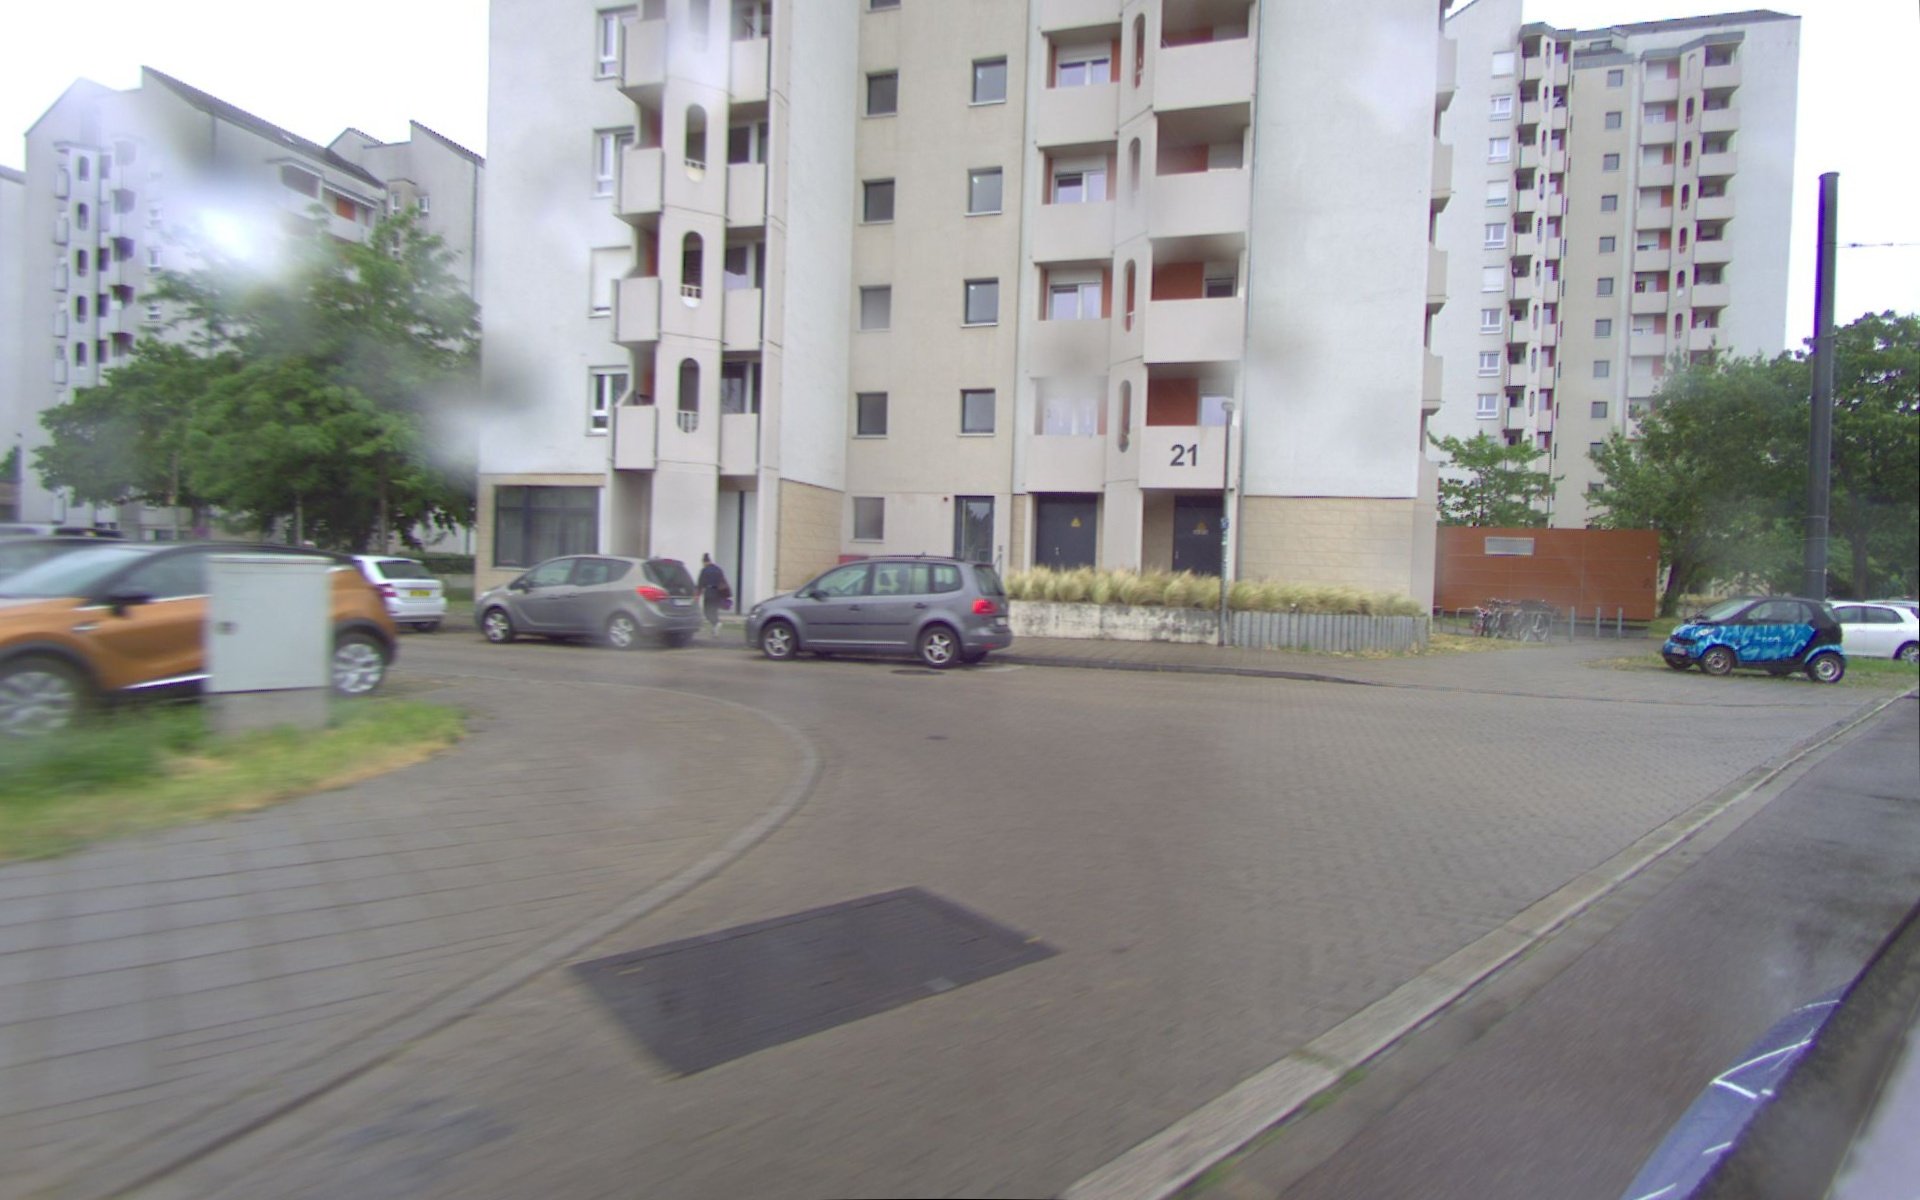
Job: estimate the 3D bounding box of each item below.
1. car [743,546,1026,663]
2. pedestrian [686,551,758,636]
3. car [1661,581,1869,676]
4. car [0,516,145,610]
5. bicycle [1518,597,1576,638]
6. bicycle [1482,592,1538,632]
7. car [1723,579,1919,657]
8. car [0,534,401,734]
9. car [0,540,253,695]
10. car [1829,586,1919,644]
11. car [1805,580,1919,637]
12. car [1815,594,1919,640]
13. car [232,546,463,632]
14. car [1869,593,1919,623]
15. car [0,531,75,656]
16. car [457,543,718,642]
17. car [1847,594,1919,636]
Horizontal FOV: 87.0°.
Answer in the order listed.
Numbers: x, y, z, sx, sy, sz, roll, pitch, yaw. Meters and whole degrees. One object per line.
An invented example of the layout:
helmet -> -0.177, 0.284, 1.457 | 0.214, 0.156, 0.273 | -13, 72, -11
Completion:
car -> -1.158, 0.032, 15.918 | 4.060, 1.637, 1.804 | 2, 0, 19
pedestrian -> -4.422, -0.135, 18.852 | 0.827, 1.536, 1.088 | 1, 1, 20
car -> 15.118, 0.491, 19.143 | 2.523, 1.567, 1.599 | 3, 2, 9
car -> -20.578, -0.808, 22.354 | 4.219, 1.943, 1.984 | 1, 0, 17
bicycle -> 15.156, 0.433, 26.102 | 2.022, 1.018, 0.662 | 0, 2, -42
bicycle -> 14.698, 0.300, 27.028 | 2.022, 1.018, 0.662 | 0, 2, -42
car -> 22.011, 0.448, 25.375 | 4.118, 1.566, 1.761 | 5, 2, 9
car -> -7.421, 0.197, 9.017 | 1.976, 1.459, 3.973 | 1, 2, 21
car -> -9.821, 0.133, 10.250 | 1.976, 1.459, 3.973 | 1, 2, 21
car -> 31.422, 0.580, 33.075 | 4.122, 1.691, 1.679 | 5, 2, 12
car -> 32.674, 0.367, 35.337 | 4.389, 1.691, 1.809 | 5, 2, 9
car -> 34.880, 0.715, 37.504 | 4.397, 1.427, 1.761 | 6, 3, 14
car -> -11.733, -0.227, 19.423 | 3.748, 1.493, 1.804 | 2, 0, 19
car -> 55.236, 0.556, 58.175 | 3.987, 1.506, 1.718 | 5, 2, 13
car -> -12.553, -0.075, 11.015 | 1.976, 1.459, 3.973 | 1, 2, 21
car -> -6.501, -0.159, 17.714 | 4.060, 1.553, 1.804 | 2, 0, 19
car -> 37.609, 0.705, 39.234 | 4.399, 1.445, 1.677 | 6, 3, 15
